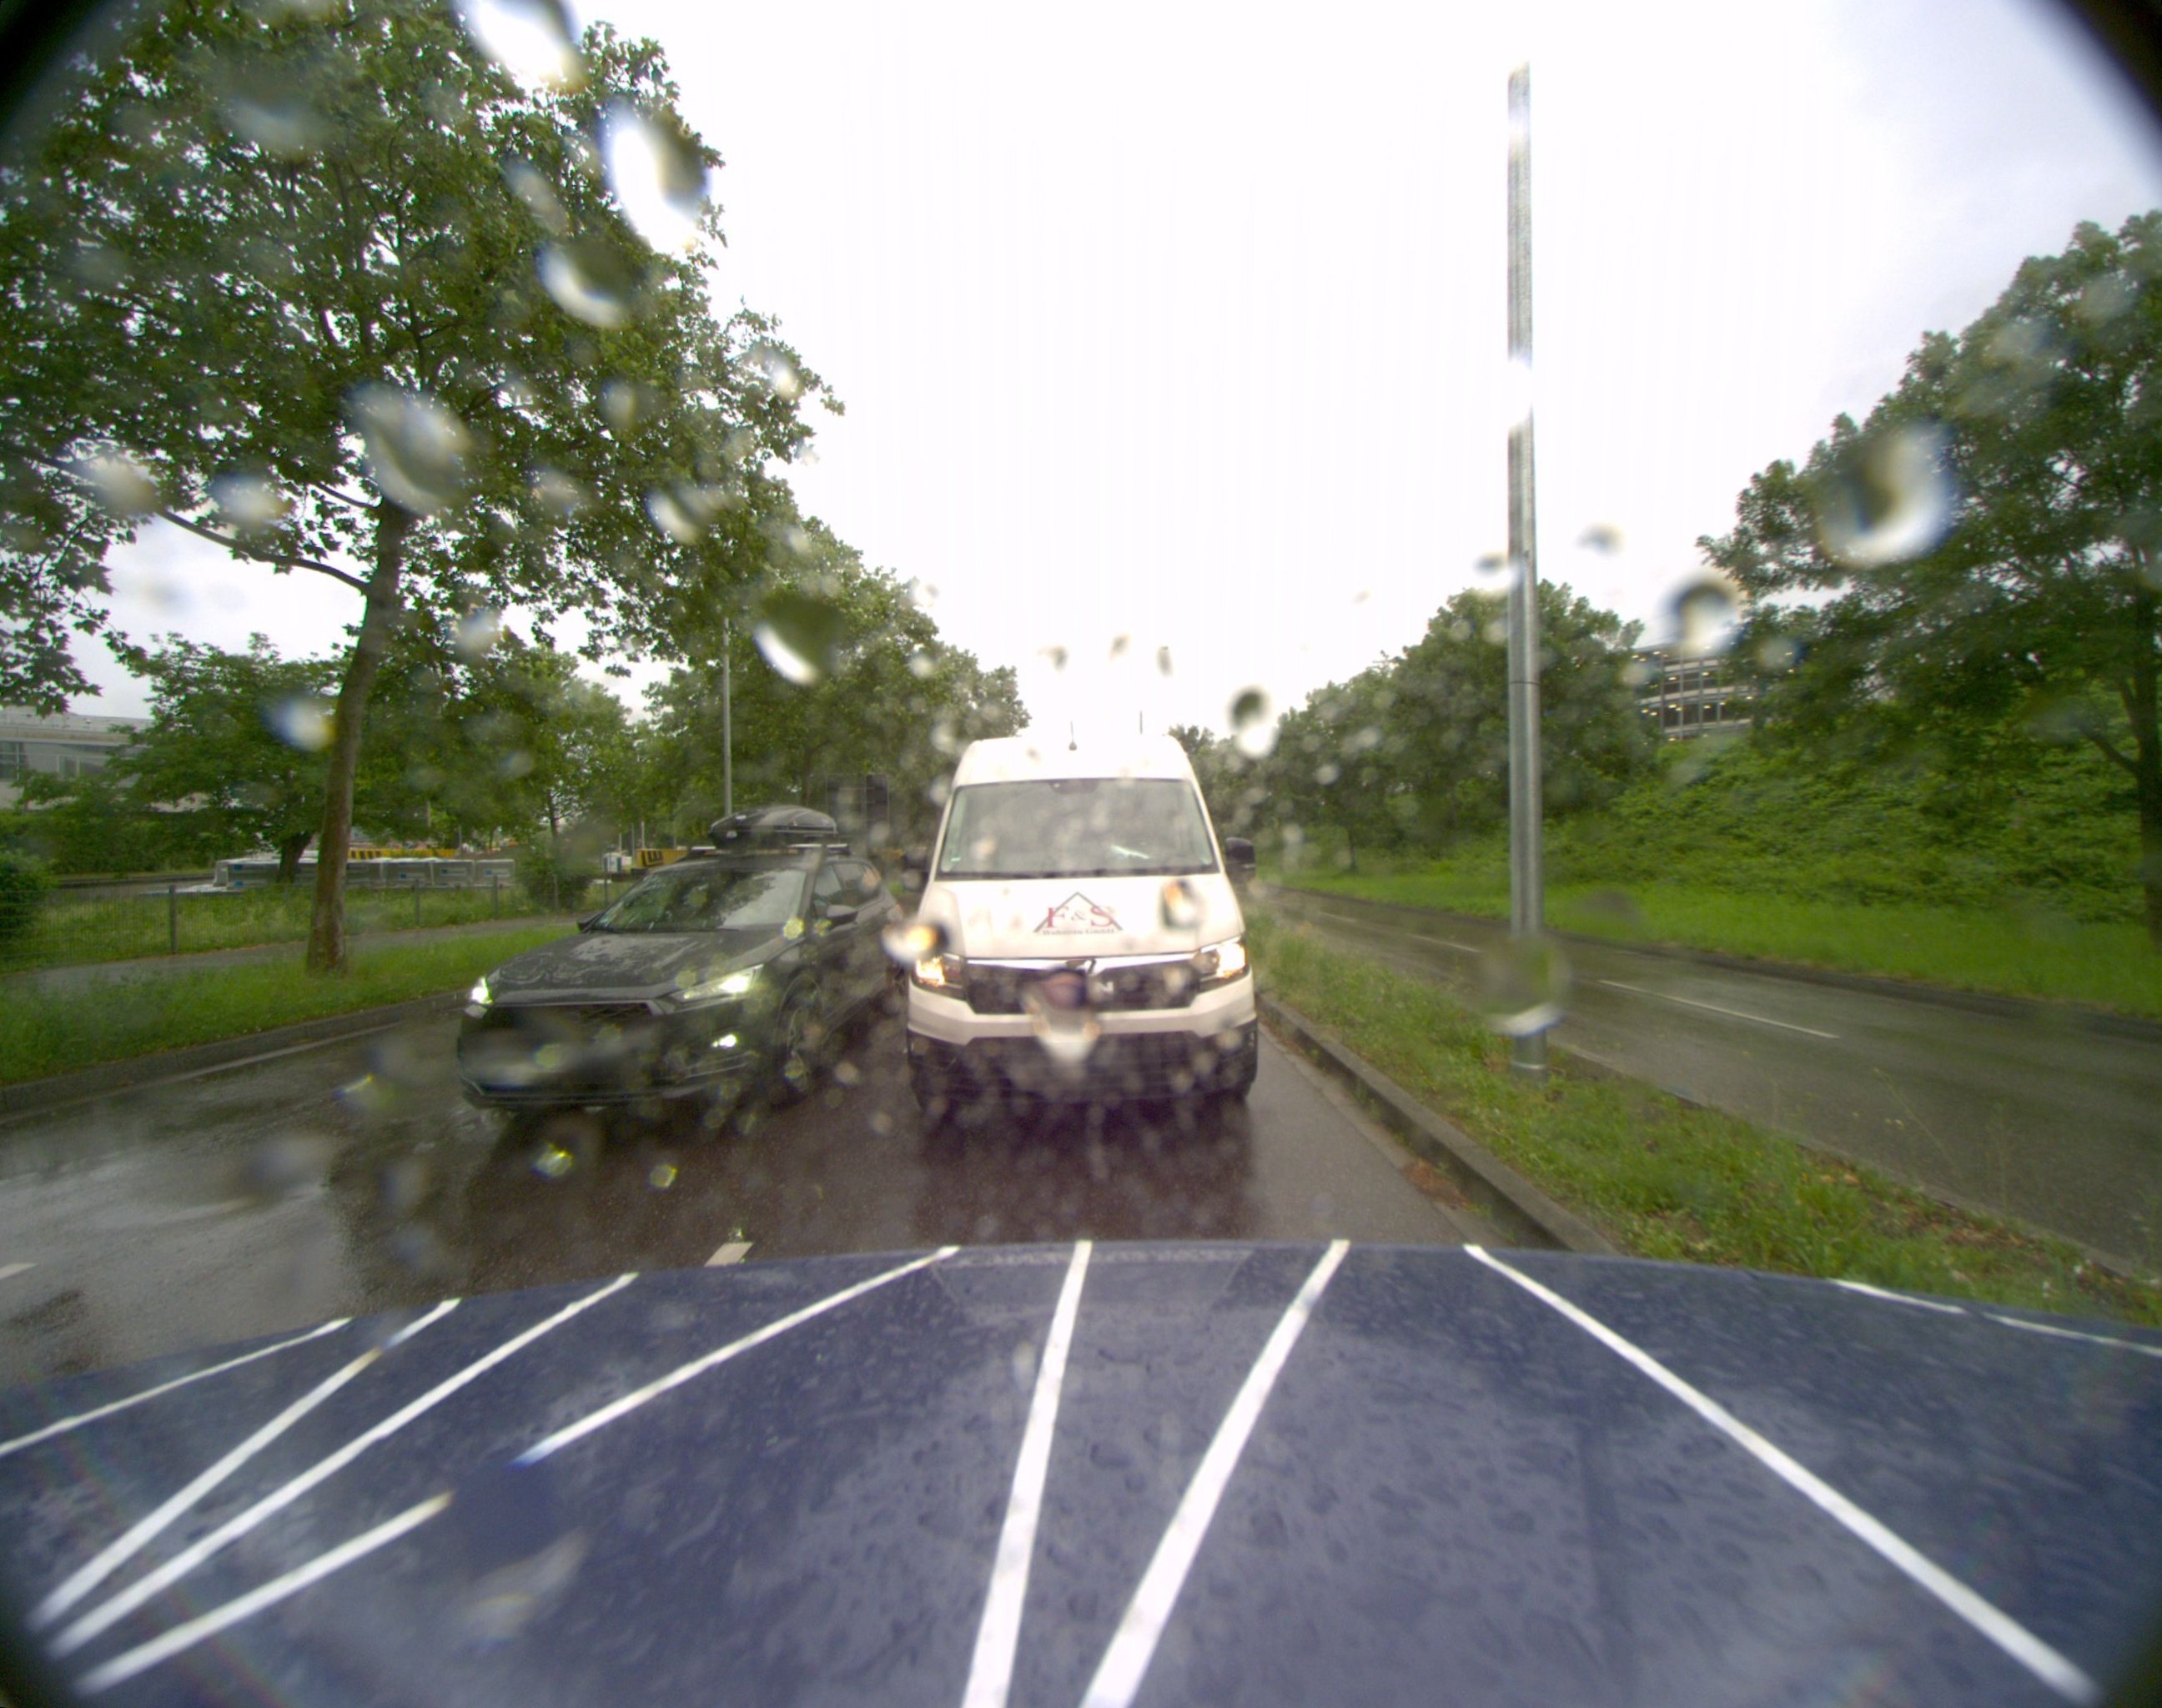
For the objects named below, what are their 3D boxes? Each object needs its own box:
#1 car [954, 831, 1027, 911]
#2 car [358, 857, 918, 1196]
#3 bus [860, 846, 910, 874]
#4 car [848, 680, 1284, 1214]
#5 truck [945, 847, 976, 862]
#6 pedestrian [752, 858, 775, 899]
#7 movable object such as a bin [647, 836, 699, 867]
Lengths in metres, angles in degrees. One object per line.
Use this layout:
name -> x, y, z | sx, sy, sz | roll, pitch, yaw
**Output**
car -> -2.978, 0.521, 26.016 | 1.894, 2.432, 5.317 | -1, 0, -1
car -> -2.753, 0.902, 6.132 | 1.894, 1.688, 4.423 | -1, 0, 0
bus -> -19.155, 0.569, 74.384 | 4.370, 2.553, 1.711 | -2, 1, 0
car -> -0.115, 0.434, 6.454 | 2.027, 2.498, 5.695 | -1, 0, -1
truck -> -21.010, 0.088, 132.611 | 5.061, 2.363, 1.792 | -3, 1, -30
pedestrian -> -13.717, 1.050, 32.818 | 0.646, 1.707, 0.656 | -2, 1, 1
movable object such as a bin -> -48.040, -0.304, 89.609 | 1.913, 3.415, 4.947 | -1, 1, 34
